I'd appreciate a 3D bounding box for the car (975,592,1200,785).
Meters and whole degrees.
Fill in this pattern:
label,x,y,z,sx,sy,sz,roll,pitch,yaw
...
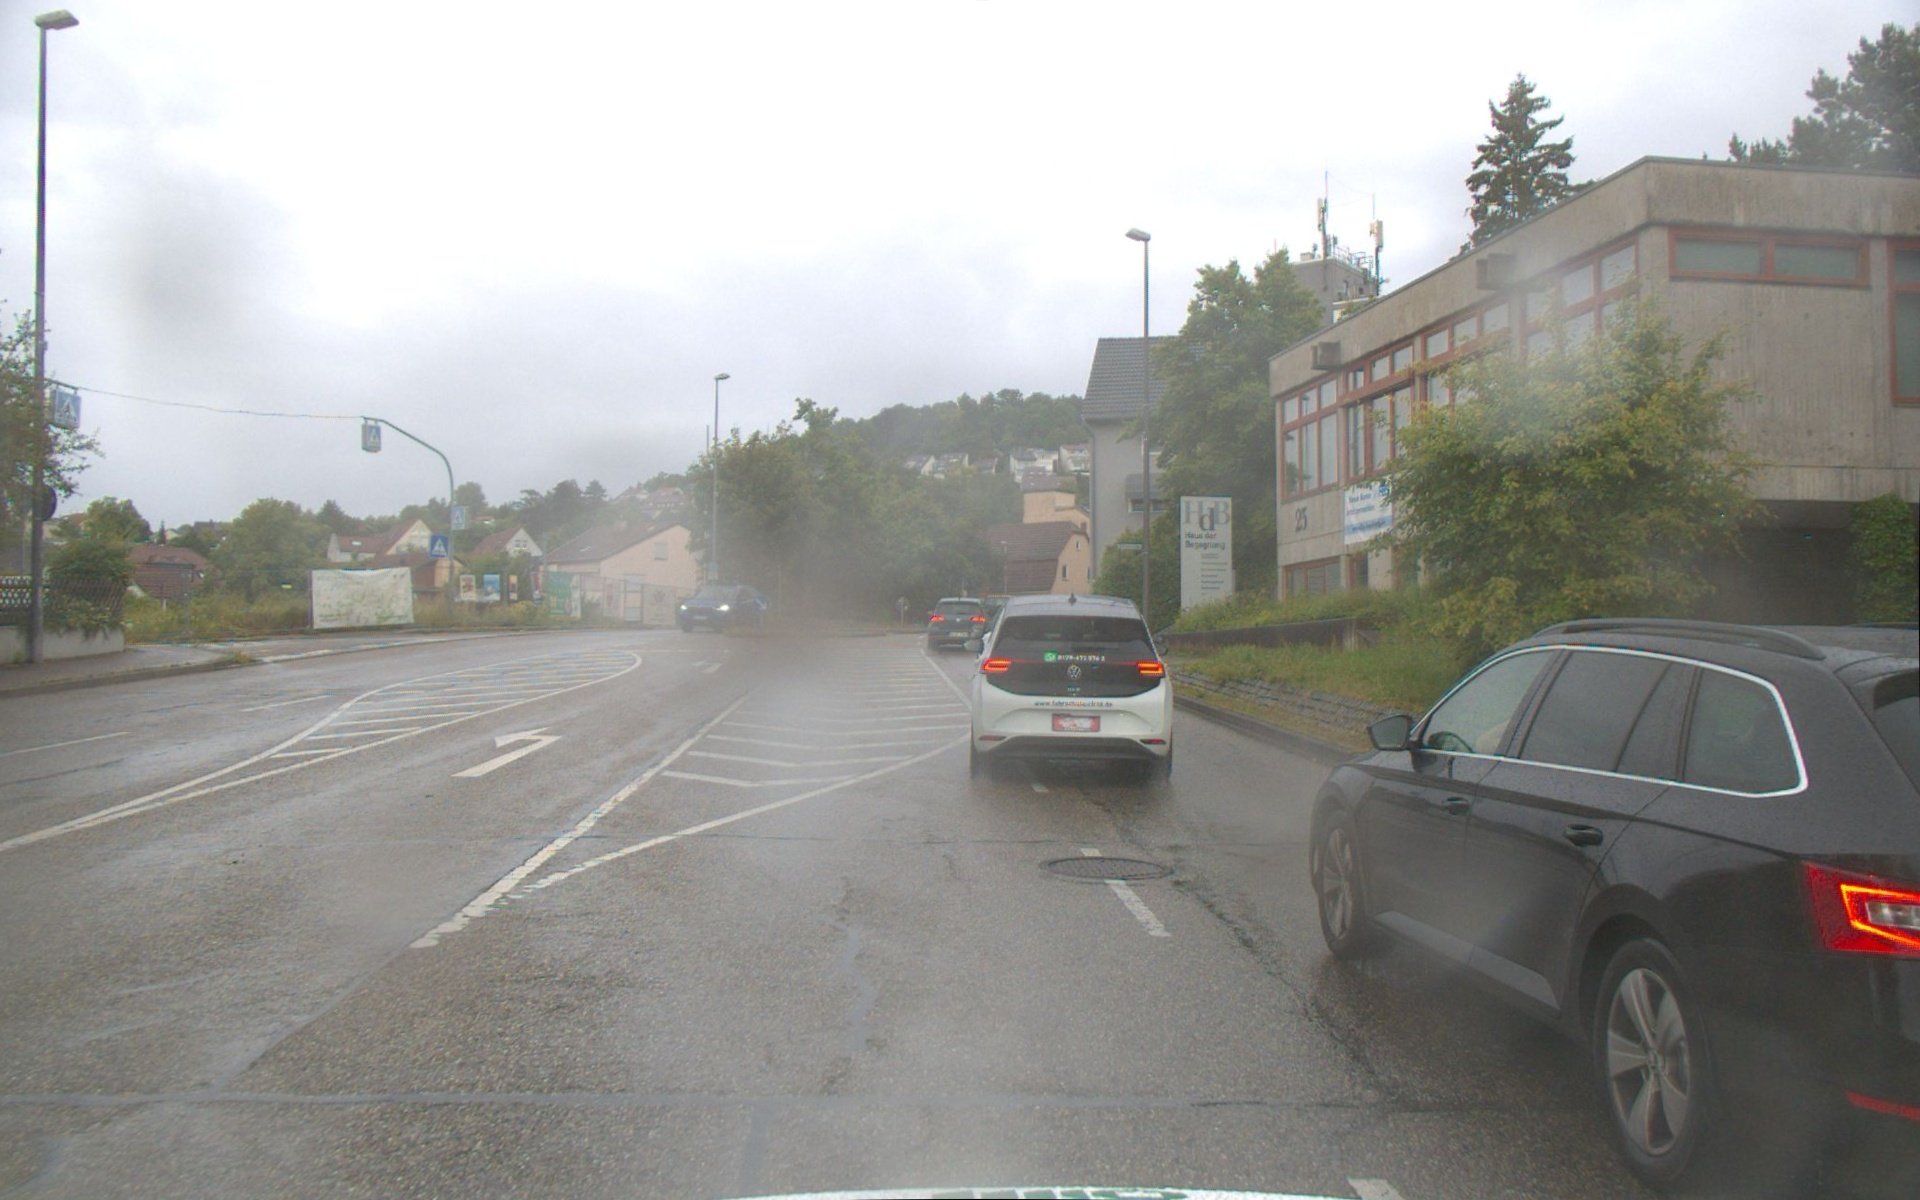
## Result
label,x,y,z,sx,sy,sz,roll,pitch,yaw
car,1.065,0.739,15.368,1.791,1.526,4.169,1,-1,1

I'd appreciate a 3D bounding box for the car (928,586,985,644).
label,x,y,z,sx,sy,sz,roll,pitch,yaw
car,-0.128,0.399,47.011,1.535,1.557,3.999,0,0,-1

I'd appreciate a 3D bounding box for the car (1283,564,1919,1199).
label,x,y,z,sx,sy,sz,roll,pitch,yaw
car,2.634,0.764,5.483,1.915,1.534,4.605,3,-1,-4

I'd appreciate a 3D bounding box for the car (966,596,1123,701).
label,x,y,z,sx,sy,sz,roll,pitch,yaw
car,1.187,0.700,25.093,1.812,1.434,4.297,1,-1,-5

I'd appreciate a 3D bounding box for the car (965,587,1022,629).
label,x,y,z,sx,sy,sz,roll,pitch,yaw
car,1.323,0.330,63.317,1.952,1.478,3.772,-2,-1,4

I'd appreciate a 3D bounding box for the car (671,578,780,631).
label,x,y,z,sx,sy,sz,roll,pitch,yaw
car,-8.165,0.173,58.008,1.951,1.723,4.707,1,-1,17
